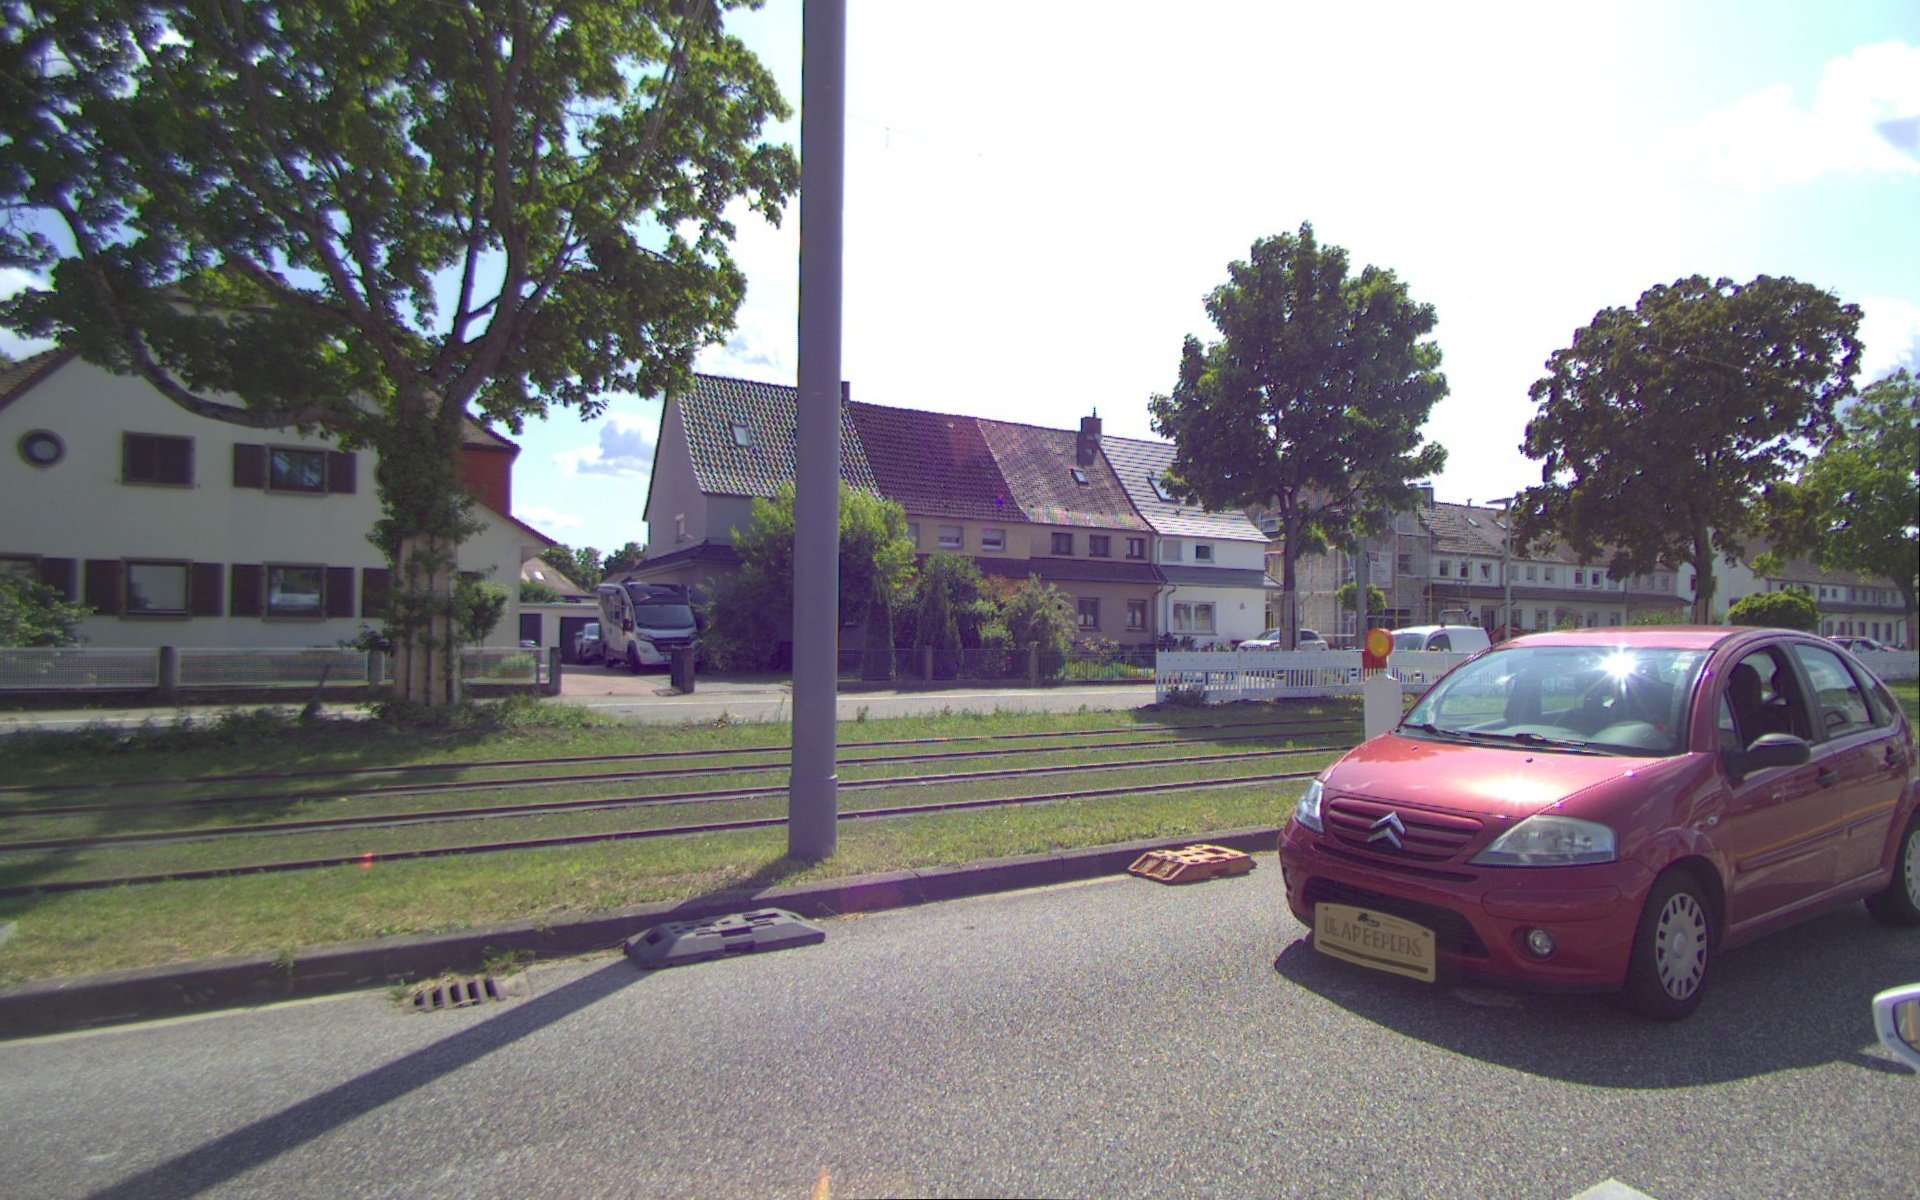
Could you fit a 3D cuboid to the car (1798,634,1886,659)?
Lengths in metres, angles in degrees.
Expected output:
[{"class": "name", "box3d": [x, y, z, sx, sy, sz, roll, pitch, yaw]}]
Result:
[{"class": "car", "box3d": [57.690, 3.030, 65.763, 1.705, 1.529, 3.968, 2, -2, -30]}]

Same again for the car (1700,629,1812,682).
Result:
[{"class": "car", "box3d": [26.583, 1.856, 33.530, 3.853, 1.673, 1.615, 2, -3, -30]}]

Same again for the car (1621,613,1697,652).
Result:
[{"class": "car", "box3d": [39.196, 1.816, 56.341, 3.953, 2.040, 1.984, 2, 0, -30]}]

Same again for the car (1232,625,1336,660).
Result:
[{"class": "car", "box3d": [12.717, 1.678, 39.371, 4.071, 1.291, 1.527, 2, -3, -30]}]

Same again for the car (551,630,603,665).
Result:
[{"class": "car", "box3d": [-14.704, 1.801, 38.499, 1.330, 1.189, 2.847, 2, 0, -32]}]

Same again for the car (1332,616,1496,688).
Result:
[{"class": "car", "box3d": [11.075, 1.280, 24.469, 3.953, 1.647, 1.646, 2, -3, -30]}]

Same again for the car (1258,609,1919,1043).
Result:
[{"class": "car", "box3d": [3.406, 0.839, 5.065, 3.676, 1.488, 1.571, 1, -2, -30]}]

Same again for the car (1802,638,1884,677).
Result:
[{"class": "car", "box3d": [32.667, 2.144, 37.157, 3.077, 1.395, 1.344, 2, -3, -30]}]

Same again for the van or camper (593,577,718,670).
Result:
[{"class": "van or camper", "box3d": [-9.881, 0.671, 32.194, 2.470, 2.667, 6.304, 2, 0, -29]}]
